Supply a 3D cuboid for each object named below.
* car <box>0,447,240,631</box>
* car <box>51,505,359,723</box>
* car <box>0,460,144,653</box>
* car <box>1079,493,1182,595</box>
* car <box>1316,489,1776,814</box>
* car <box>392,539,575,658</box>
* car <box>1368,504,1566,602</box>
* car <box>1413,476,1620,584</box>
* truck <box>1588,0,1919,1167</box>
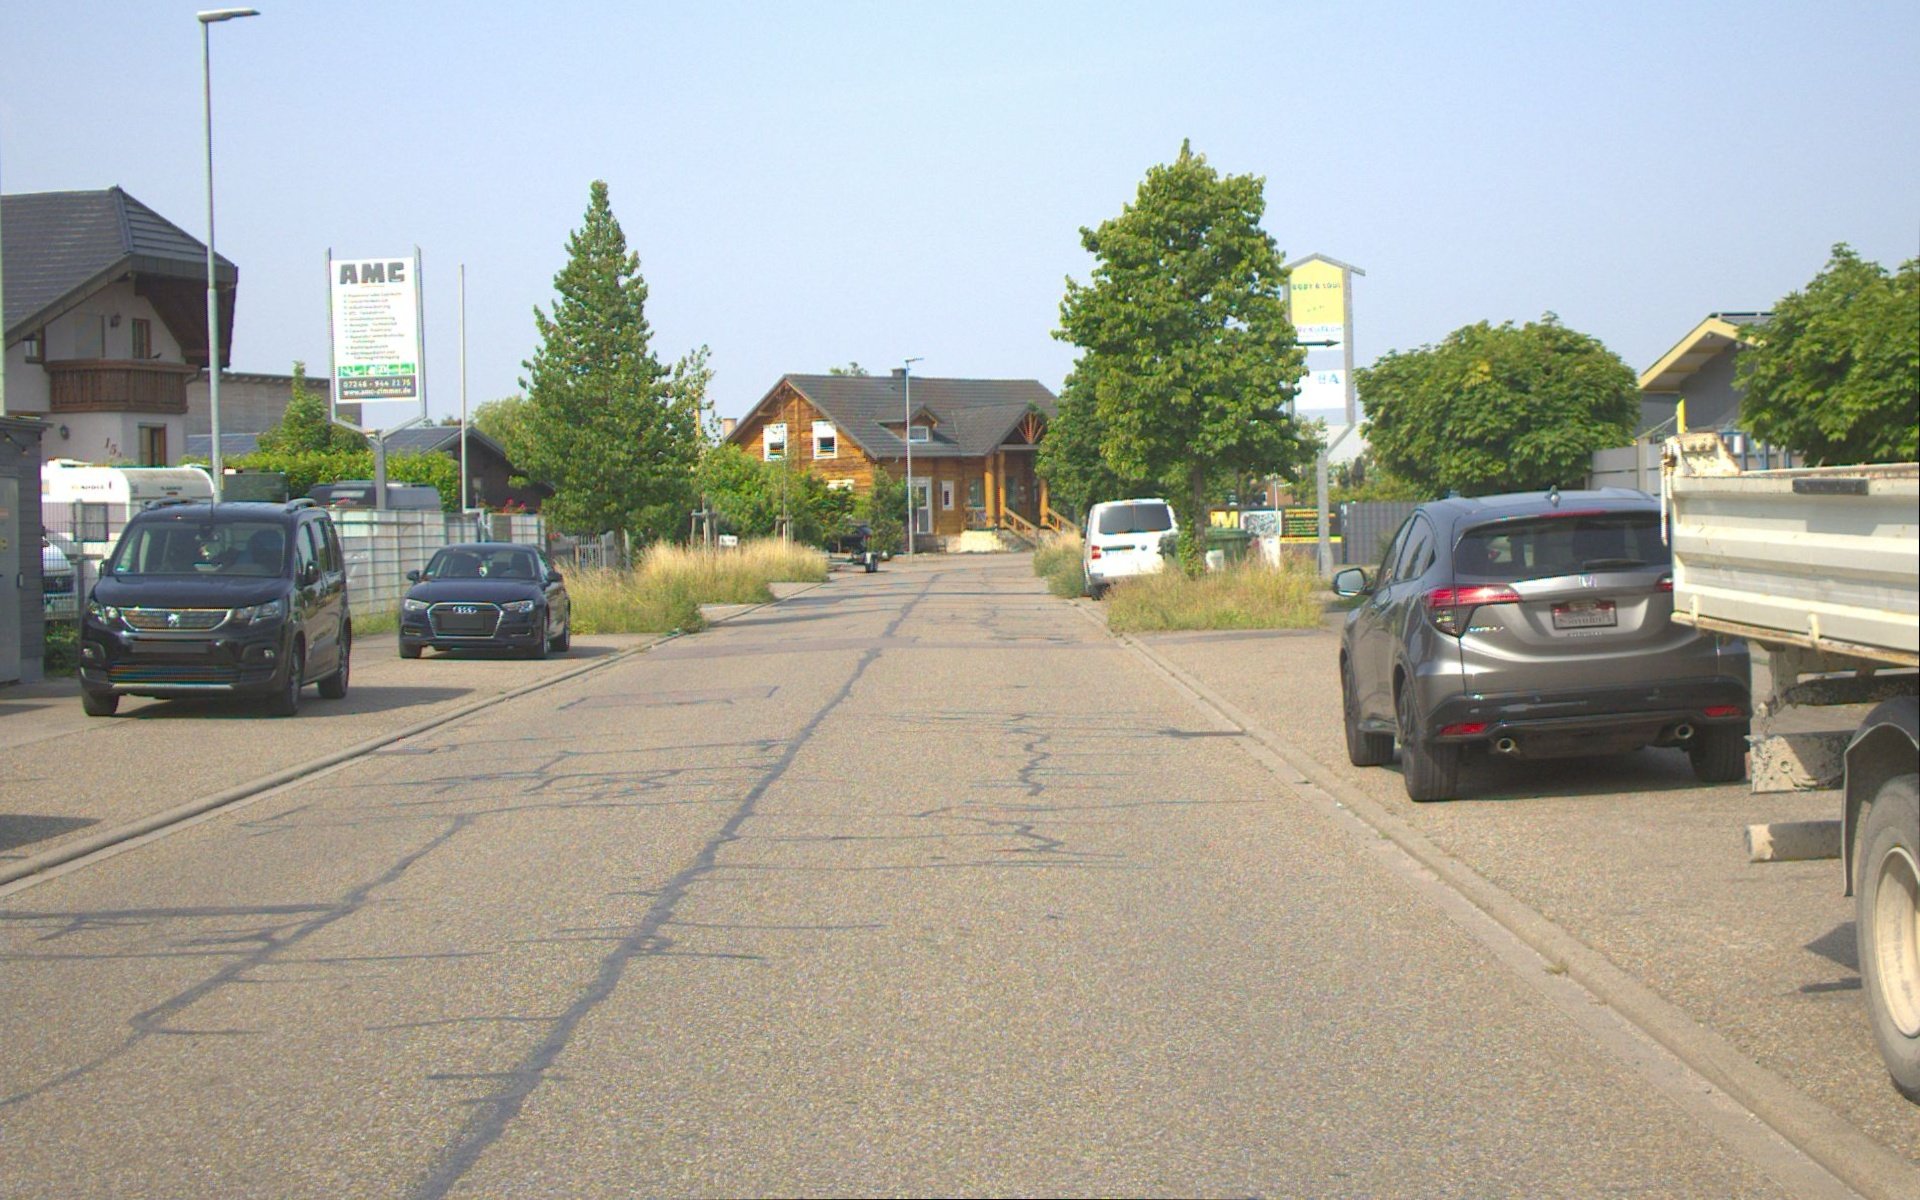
[{"bbox_3d":[-13.706,-0.882,51.224,5.162,2.577,2.574,-2,2,21],"label":"car"},{"bbox_3d":[-6.529,0.062,30.171,1.800,1.768,4.203,0,2,0],"label":"car"},{"bbox_3d":[-14.108,-0.569,48.006,4.808,2.577,2.143,-2,1,21],"label":"car"},{"bbox_3d":[3.400,-1.146,69.089,1.837,1.917,3.756,-2,1,1],"label":"car"},{"bbox_3d":[3.138,0.210,19.192,1.794,1.555,4.000,-2,1,-1],"label":"car"},{"bbox_3d":[-5.903,-0.048,42.933,1.800,1.382,3.638,0,2,0],"label":"car"},{"bbox_3d":[8.325,-0.776,56.482,3.144,1.516,1.392,-1,1,9],"label":"car"},{"bbox_3d":[8.786,-1.115,54.329,3.144,1.574,1.392,-2,1,9],"label":"car"},{"bbox_3d":[3.316,-0.095,7.252,2.359,2.672,6.512,-2,1,-3],"label":"truck"}]
